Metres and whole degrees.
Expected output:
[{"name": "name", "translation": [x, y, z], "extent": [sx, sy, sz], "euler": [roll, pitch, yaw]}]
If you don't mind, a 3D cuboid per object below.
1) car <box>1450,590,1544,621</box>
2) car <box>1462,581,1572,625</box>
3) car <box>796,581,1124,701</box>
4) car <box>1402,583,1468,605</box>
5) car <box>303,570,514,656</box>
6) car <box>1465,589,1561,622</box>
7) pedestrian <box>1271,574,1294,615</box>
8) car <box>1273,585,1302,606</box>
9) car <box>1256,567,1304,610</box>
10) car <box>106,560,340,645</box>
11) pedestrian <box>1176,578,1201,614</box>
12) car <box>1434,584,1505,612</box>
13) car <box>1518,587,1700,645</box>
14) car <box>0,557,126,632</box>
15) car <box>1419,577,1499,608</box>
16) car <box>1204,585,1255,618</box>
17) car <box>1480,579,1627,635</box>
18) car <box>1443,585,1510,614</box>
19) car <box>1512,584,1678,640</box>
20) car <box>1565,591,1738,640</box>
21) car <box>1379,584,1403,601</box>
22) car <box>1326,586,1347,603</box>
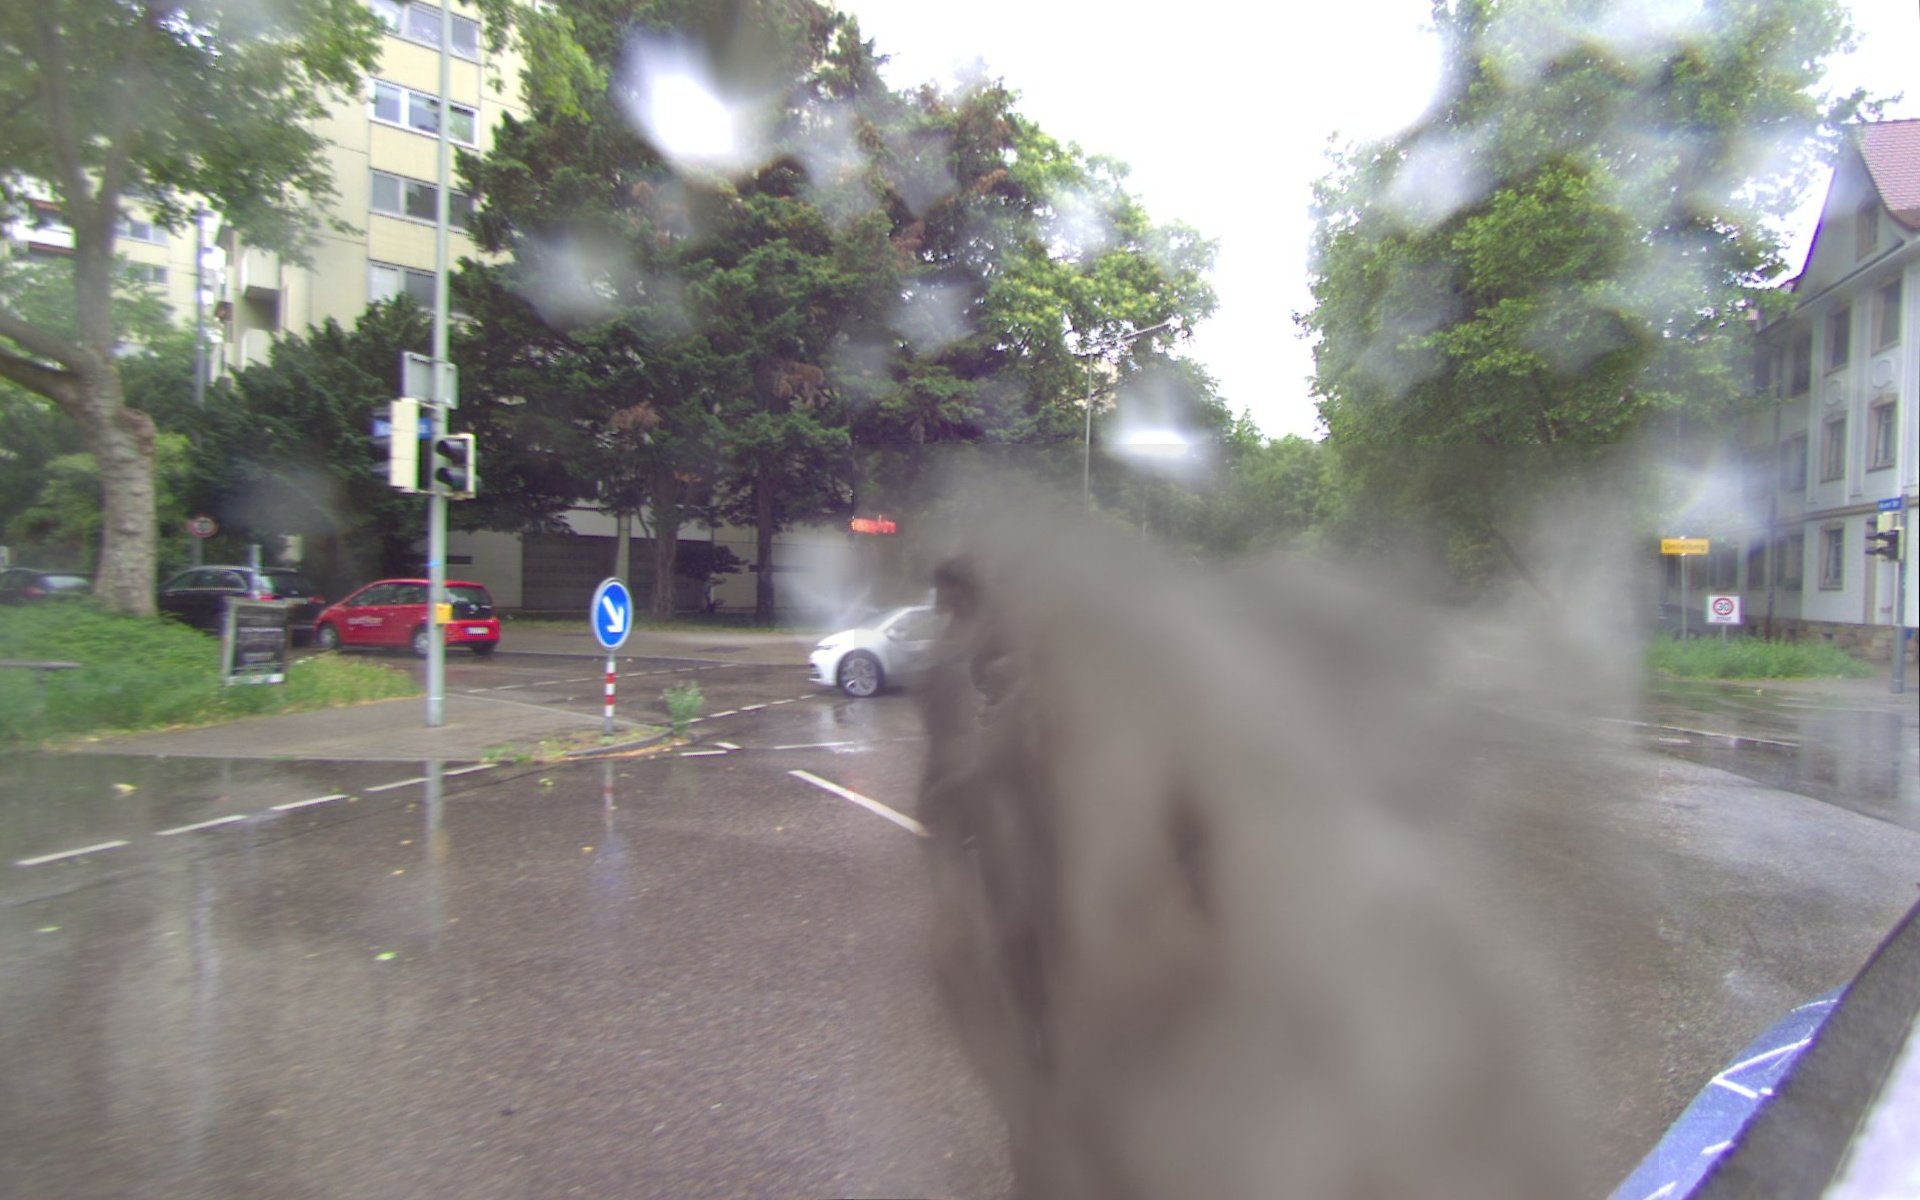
[{"name": "car", "translation": [30.783, 0.283, 58.191], "extent": [4.478, 1.590, 2.018], "euler": [3, 1, 22]}, {"name": "car", "translation": [27.486, 0.109, 50.117], "extent": [4.388, 1.923, 2.020], "euler": [3, 1, 20]}, {"name": "car", "translation": [0.074, 0.496, 14.078], "extent": [4.328, 1.451, 1.778], "euler": [1, 1, 10]}, {"name": "car", "translation": [38.647, -0.488, 82.470], "extent": [4.618, 1.624, 2.018], "euler": [3, 1, 22]}, {"name": "car", "translation": [-10.849, 0.211, 19.975], "extent": [3.414, 1.544, 1.832], "euler": [1, 1, 18]}, {"name": "car", "translation": [30.342, 0.294, 55.722], "extent": [4.360, 1.605, 1.913], "euler": [3, 1, 22]}, {"name": "pedestrian", "translation": [16.804, -0.291, 52.744], "extent": [0.934, 2.088, 1.071], "euler": [2, 1, 25]}, {"name": "car", "translation": [25.647, -0.348, 79.202], "extent": [1.976, 1.558, 3.973], "euler": [1, 1, 21]}, {"name": "car", "translation": [20.099, -0.734, 63.415], "extent": [2.375, 2.506, 5.650], "euler": [2, 1, 22]}, {"name": "car", "translation": [-15.612, 0.005, 21.459], "extent": [4.400, 1.628, 1.928], "euler": [1, 1, 20]}, {"name": "pedestrian", "translation": [10.902, -0.203, 48.321], "extent": [0.934, 1.681, 0.920], "euler": [2, 1, 25]}, {"name": "car", "translation": [34.340, -0.134, 68.322], "extent": [4.064, 1.711, 1.814], "euler": [3, 1, 22]}, {"name": "car", "translation": [21.371, 0.468, 33.550], "extent": [4.681, 1.642, 1.918], "euler": [3, 1, 20]}, {"name": "car", "translation": [-21.308, -0.167, 23.538], "extent": [3.454, 1.616, 1.822], "euler": [1, 1, 29]}, {"name": "car", "translation": [36.679, -0.550, 74.578], "extent": [5.032, 2.049, 2.018], "euler": [3, 1, 22]}, {"name": "car", "translation": [13.121, 0.038, 49.102], "extent": [1.802, 1.478, 4.240], "euler": [1, 1, 23]}, {"name": "car", "translation": [23.139, 0.235, 39.695], "extent": [4.618, 1.897, 2.018], "euler": [3, 1, 22]}, {"name": "car", "translation": [33.651, -0.078, 66.034], "extent": [3.680, 1.711, 1.923], "euler": [3, 1, 22]}, {"name": "car", "translation": [22.344, 0.384, 35.844], "extent": [4.618, 1.711, 2.018], "euler": [3, 1, 22]}, {"name": "car", "translation": [20.889, 0.447, 30.759], "extent": [3.947, 1.371, 1.787], "euler": [1, 1, 18]}, {"name": "car", "translation": [48.791, -0.839, 114.554], "extent": [1.973, 1.829, 3.979], "euler": [1, 1, 17]}, {"name": "car", "translation": [43.208, -0.680, 116.098], "extent": [1.973, 1.829, 4.326], "euler": [1, 1, 17]}]
